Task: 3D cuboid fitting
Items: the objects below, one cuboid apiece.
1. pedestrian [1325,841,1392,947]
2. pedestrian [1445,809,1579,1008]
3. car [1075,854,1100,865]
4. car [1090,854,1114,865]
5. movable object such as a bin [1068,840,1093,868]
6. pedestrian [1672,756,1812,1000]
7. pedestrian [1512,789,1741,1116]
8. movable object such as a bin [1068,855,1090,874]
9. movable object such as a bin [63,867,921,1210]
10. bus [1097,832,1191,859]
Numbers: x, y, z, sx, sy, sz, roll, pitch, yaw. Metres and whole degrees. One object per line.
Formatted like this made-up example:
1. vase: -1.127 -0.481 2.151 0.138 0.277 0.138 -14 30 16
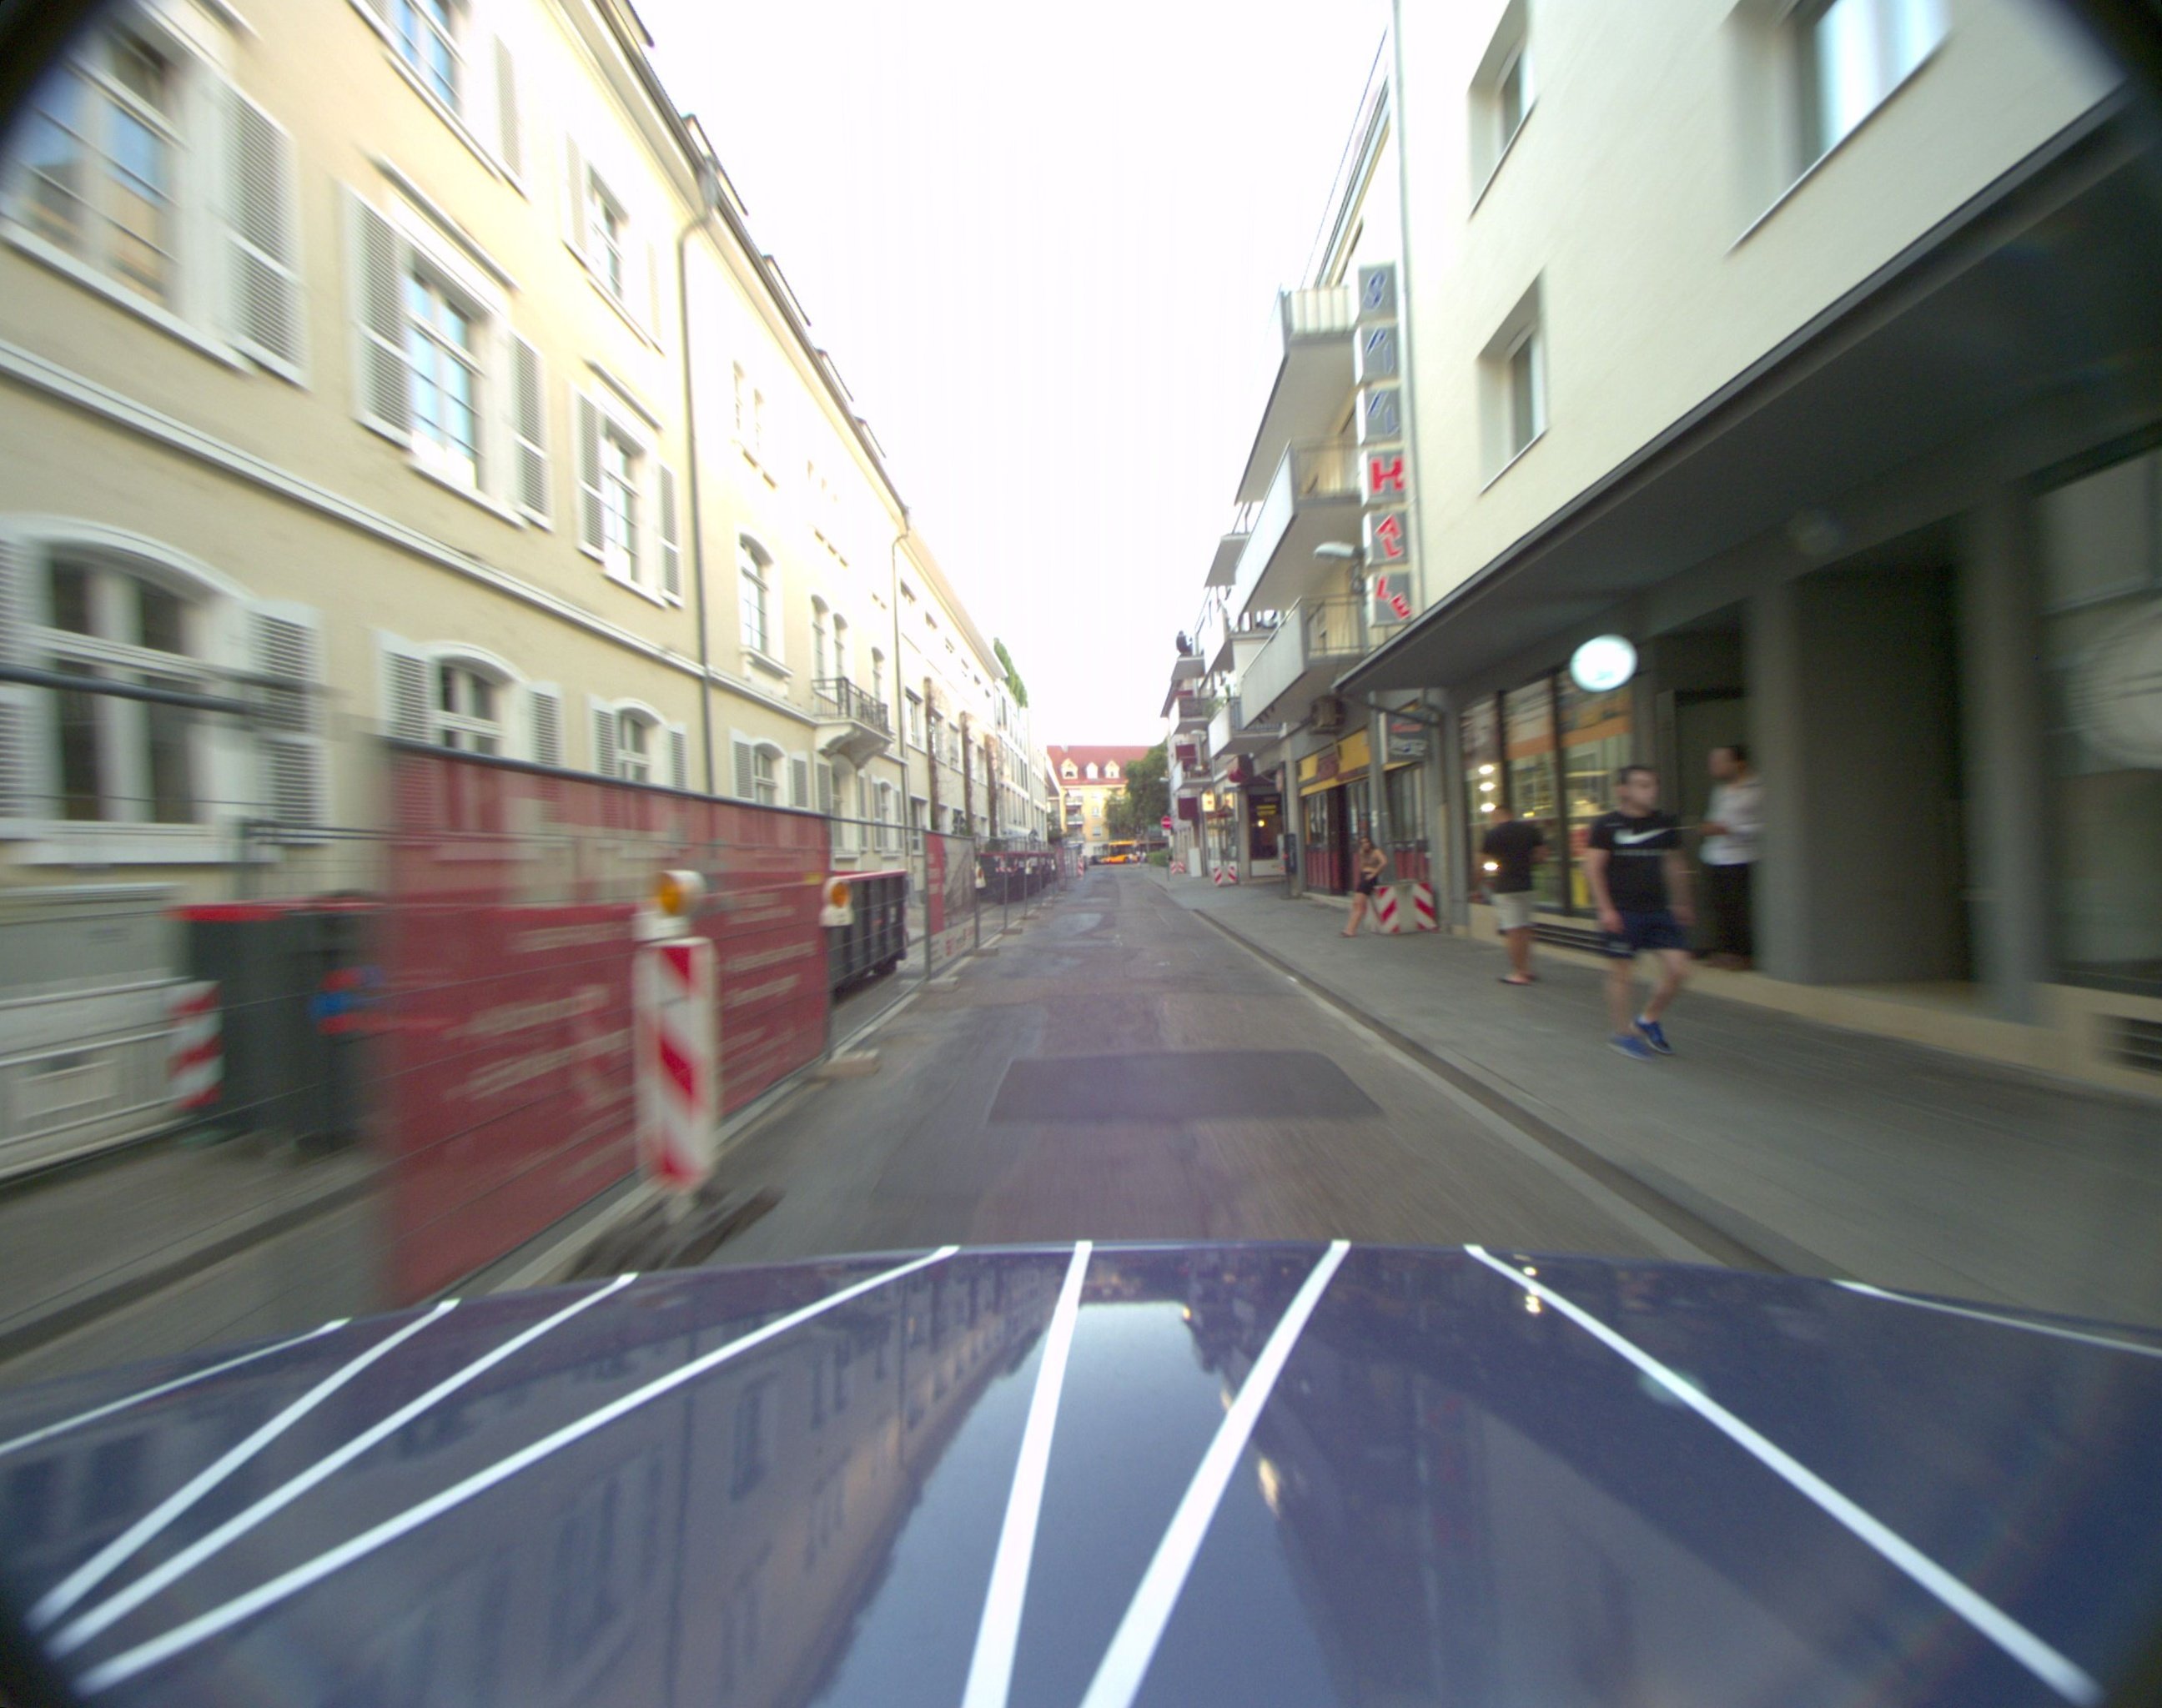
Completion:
1. pedestrian: 4.323 0.609 11.863 0.710 1.569 0.613 -4 1 -1
2. pedestrian: 4.135 0.491 7.362 0.705 1.771 0.933 -3 1 2
3. car: 0.909 0.837 108.523 1.795 1.466 3.990 -2 0 -31
4. car: 3.025 0.753 109.531 1.794 1.466 3.992 -2 0 -25
5. movable object such as a bin: -0.017 0.011 76.217 2.096 2.631 4.373 -4 0 3
6. pedestrian: 5.134 0.179 5.933 0.545 1.800 0.613 -2 1 2
7. pedestrian: 3.302 0.551 4.697 0.716 1.800 0.933 -2 1 3
8. movable object such as a bin: -0.140 0.821 59.635 1.493 1.285 3.779 -4 0 3
9. movable object such as a bin: -3.910 1.048 7.697 2.898 1.655 7.294 -2 0 1
10. bus: 8.899 -1.205 106.490 12.545 3.306 3.918 -2 2 -21
